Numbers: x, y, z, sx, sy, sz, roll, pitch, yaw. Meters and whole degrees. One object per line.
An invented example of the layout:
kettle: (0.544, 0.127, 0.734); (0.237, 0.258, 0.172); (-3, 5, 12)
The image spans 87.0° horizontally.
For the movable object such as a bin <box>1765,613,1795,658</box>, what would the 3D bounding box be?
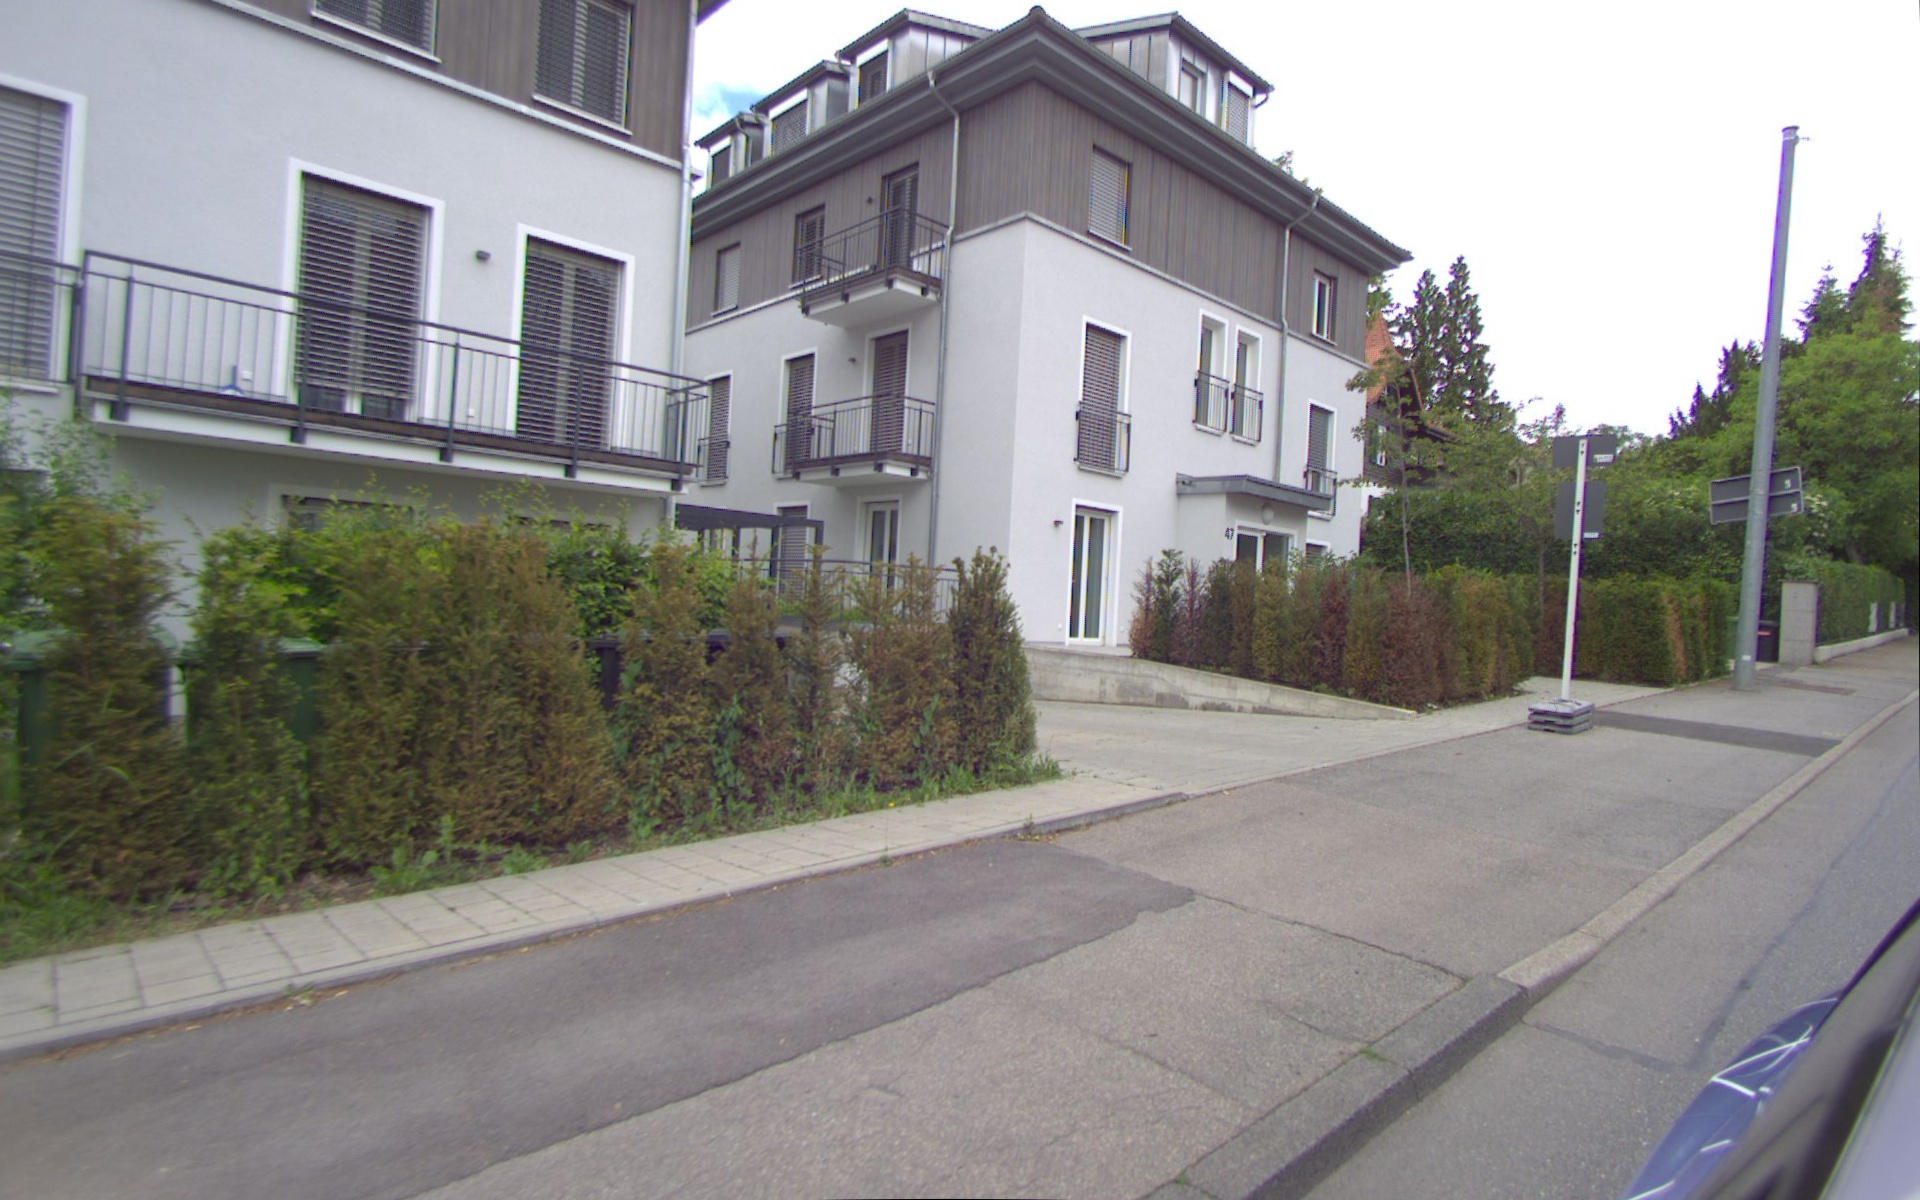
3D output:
movable object such as a bin: (18.027, 0.770, 22.250); (0.464, 0.950, 0.596); (2, 0, 37)

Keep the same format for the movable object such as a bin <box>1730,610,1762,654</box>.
movable object such as a bin: (17.801, 0.721, 22.932); (0.462, 0.949, 0.598); (2, 1, 29)
